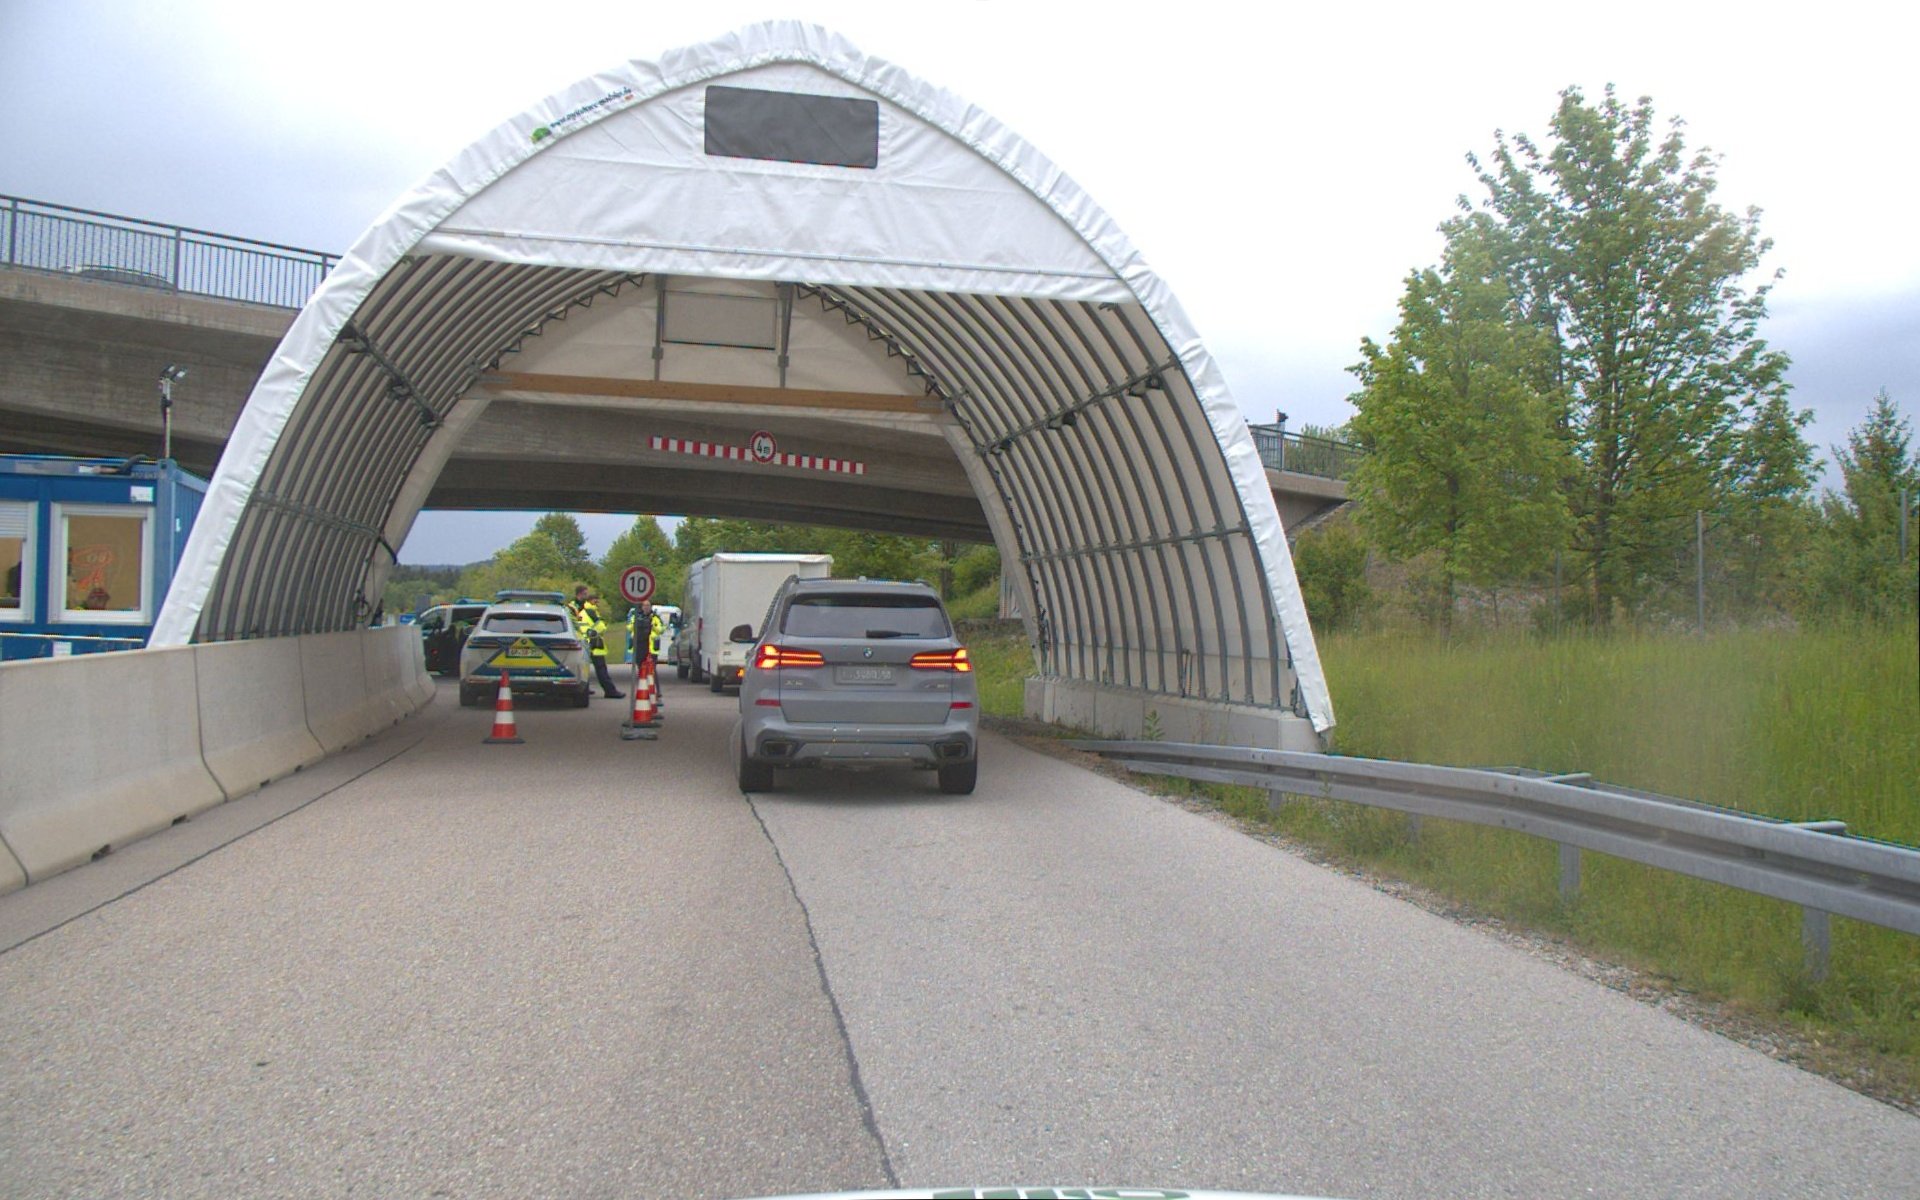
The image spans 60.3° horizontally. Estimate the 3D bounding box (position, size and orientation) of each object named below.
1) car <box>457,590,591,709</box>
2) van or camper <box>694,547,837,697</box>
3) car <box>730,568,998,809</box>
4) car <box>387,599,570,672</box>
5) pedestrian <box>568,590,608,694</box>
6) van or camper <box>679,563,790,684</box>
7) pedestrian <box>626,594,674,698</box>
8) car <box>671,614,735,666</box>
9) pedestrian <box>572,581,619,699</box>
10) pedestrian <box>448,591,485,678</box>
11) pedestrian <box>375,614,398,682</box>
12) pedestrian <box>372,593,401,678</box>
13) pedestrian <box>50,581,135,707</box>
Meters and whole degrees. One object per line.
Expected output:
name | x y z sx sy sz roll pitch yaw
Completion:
car | -6.709 0.725 25.560 1.846 1.675 3.984 0 -1 -15
van or camper | -3.892 0.419 31.982 2.190 2.597 6.591 0 -1 -12
car | -0.988 0.685 14.525 1.957 1.796 3.991 0 -1 -9
car | -13.880 1.013 47.782 4.703 2.049 1.842 0 -1 7
pedestrian | -6.470 0.724 28.786 0.597 1.784 0.665 0 -1 -6
van or camper | -5.250 0.523 37.953 2.067 2.563 5.533 0 -1 -13
pedestrian | -5.346 0.784 28.492 0.766 1.752 0.754 0 -1 -14
car | -9.028 1.389 57.978 1.959 1.752 3.883 0 -1 -13
pedestrian | -6.123 0.661 27.755 0.736 1.952 0.760 0 -1 -15
pedestrian | -11.791 0.819 39.533 0.686 2.049 0.692 0 -1 -1
pedestrian | -13.333 1.116 38.439 0.495 1.573 0.460 0 -1 -20
pedestrian | -14.001 0.865 40.409 0.614 2.049 0.653 0 -1 -16
pedestrian | -9.810 0.496 18.716 0.597 1.397 0.628 0 -1 8
